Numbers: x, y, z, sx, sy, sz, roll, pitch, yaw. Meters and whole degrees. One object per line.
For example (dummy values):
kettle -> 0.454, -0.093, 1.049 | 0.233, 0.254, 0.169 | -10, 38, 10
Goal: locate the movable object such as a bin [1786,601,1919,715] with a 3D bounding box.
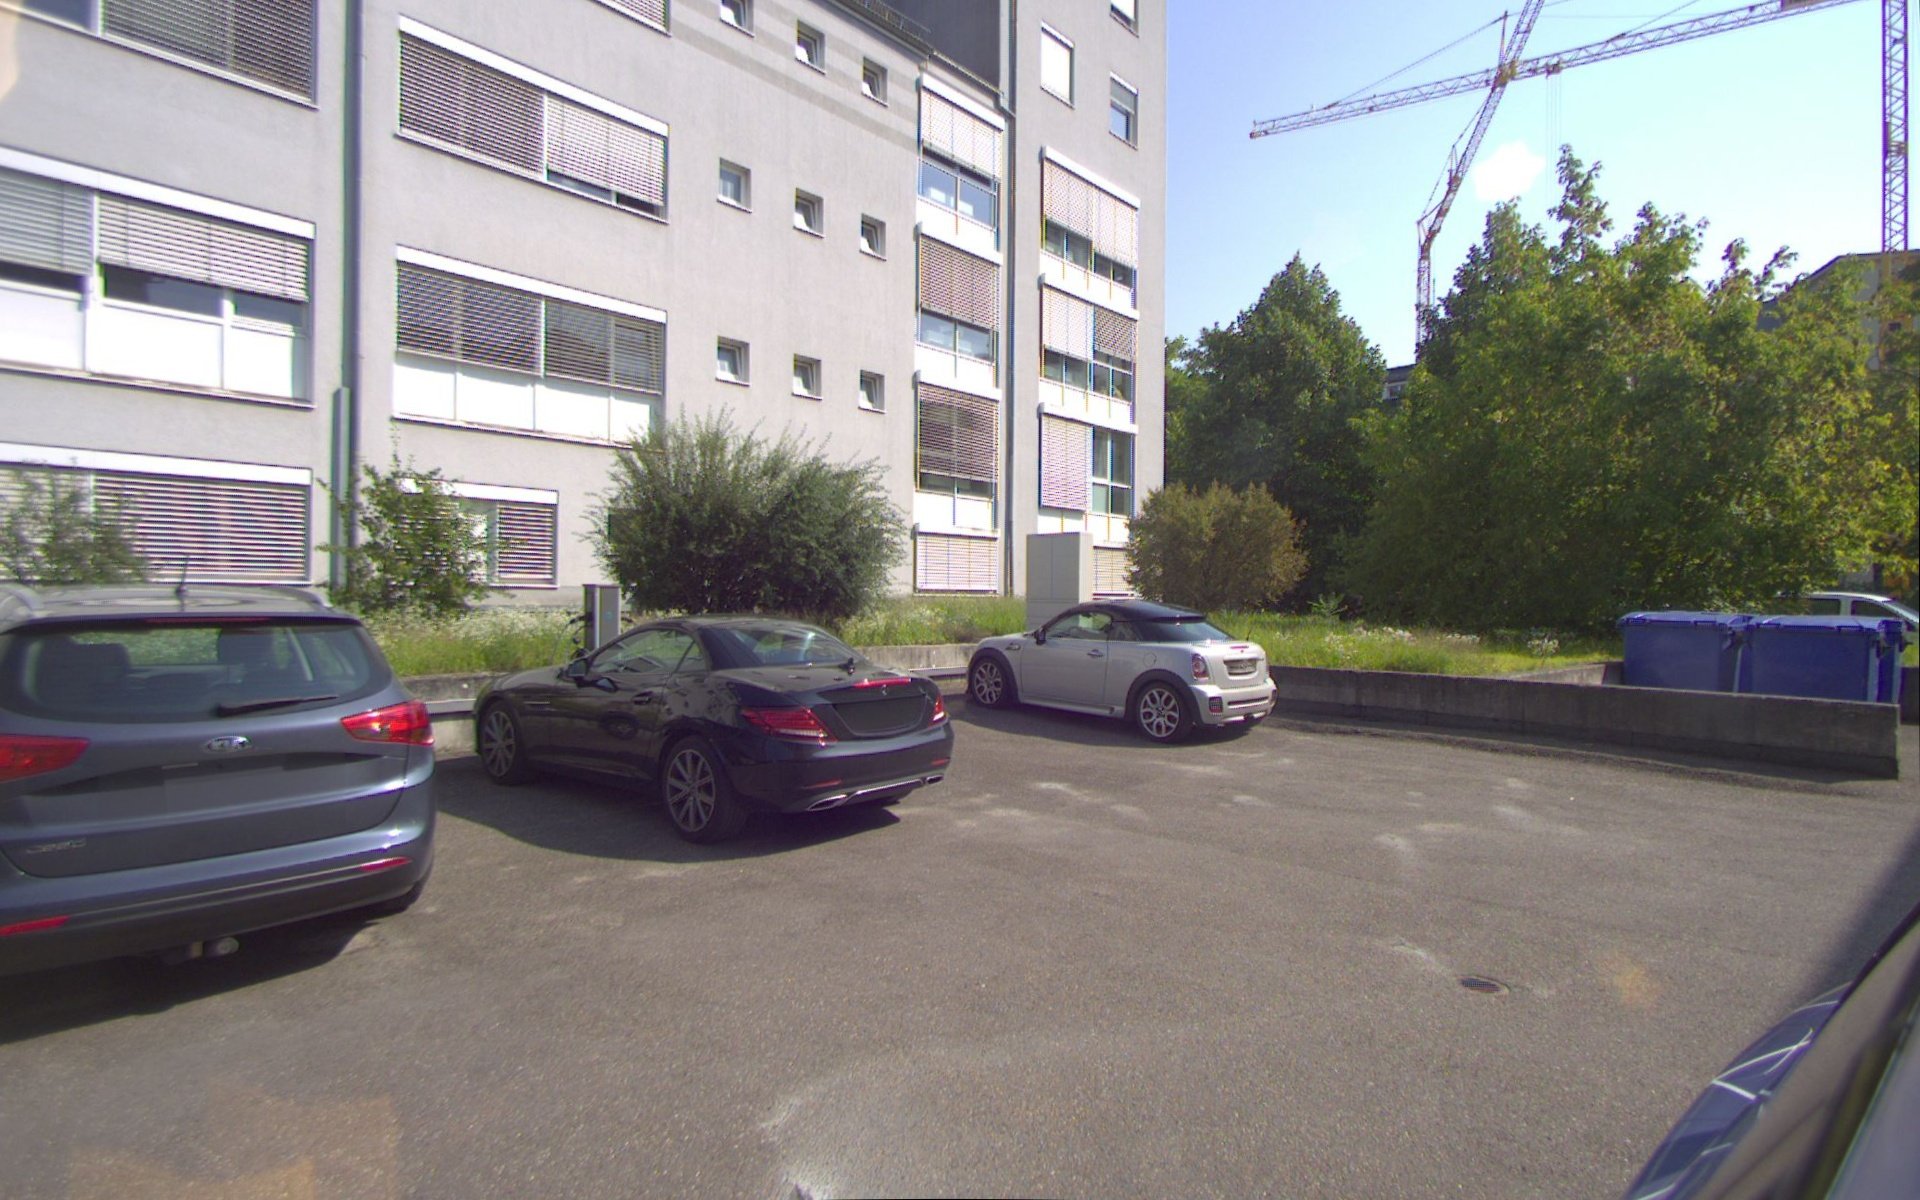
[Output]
movable object such as a bin -> 11.558, 0.700, 13.041 | 1.082, 1.357, 1.310 | 0, 0, -44

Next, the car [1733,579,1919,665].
car -> 21.861, 0.493, 24.273 | 2.007, 1.945, 4.968 | -1, 0, -39

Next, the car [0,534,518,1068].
car -> -3.848, 0.593, 4.863 | 3.862, 1.609, 1.850 | 0, 0, 44

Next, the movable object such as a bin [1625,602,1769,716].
movable object such as a bin -> 9.418, 0.709, 12.950 | 1.096, 1.357, 1.238 | 0, 0, -38

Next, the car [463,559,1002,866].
car -> -1.759, 0.577, 7.262 | 3.793, 1.609, 1.870 | 0, 0, 39

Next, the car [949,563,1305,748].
car -> 1.772, 0.475, 11.532 | 1.772, 1.563, 3.625 | 0, 5, -43

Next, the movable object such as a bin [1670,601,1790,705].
movable object such as a bin -> 10.693, 0.694, 14.056 | 1.226, 1.357, 1.060 | 0, 0, 44

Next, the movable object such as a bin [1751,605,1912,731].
movable object such as a bin -> 10.254, 0.745, 11.916 | 1.174, 1.357, 1.302 | 0, 0, -42
